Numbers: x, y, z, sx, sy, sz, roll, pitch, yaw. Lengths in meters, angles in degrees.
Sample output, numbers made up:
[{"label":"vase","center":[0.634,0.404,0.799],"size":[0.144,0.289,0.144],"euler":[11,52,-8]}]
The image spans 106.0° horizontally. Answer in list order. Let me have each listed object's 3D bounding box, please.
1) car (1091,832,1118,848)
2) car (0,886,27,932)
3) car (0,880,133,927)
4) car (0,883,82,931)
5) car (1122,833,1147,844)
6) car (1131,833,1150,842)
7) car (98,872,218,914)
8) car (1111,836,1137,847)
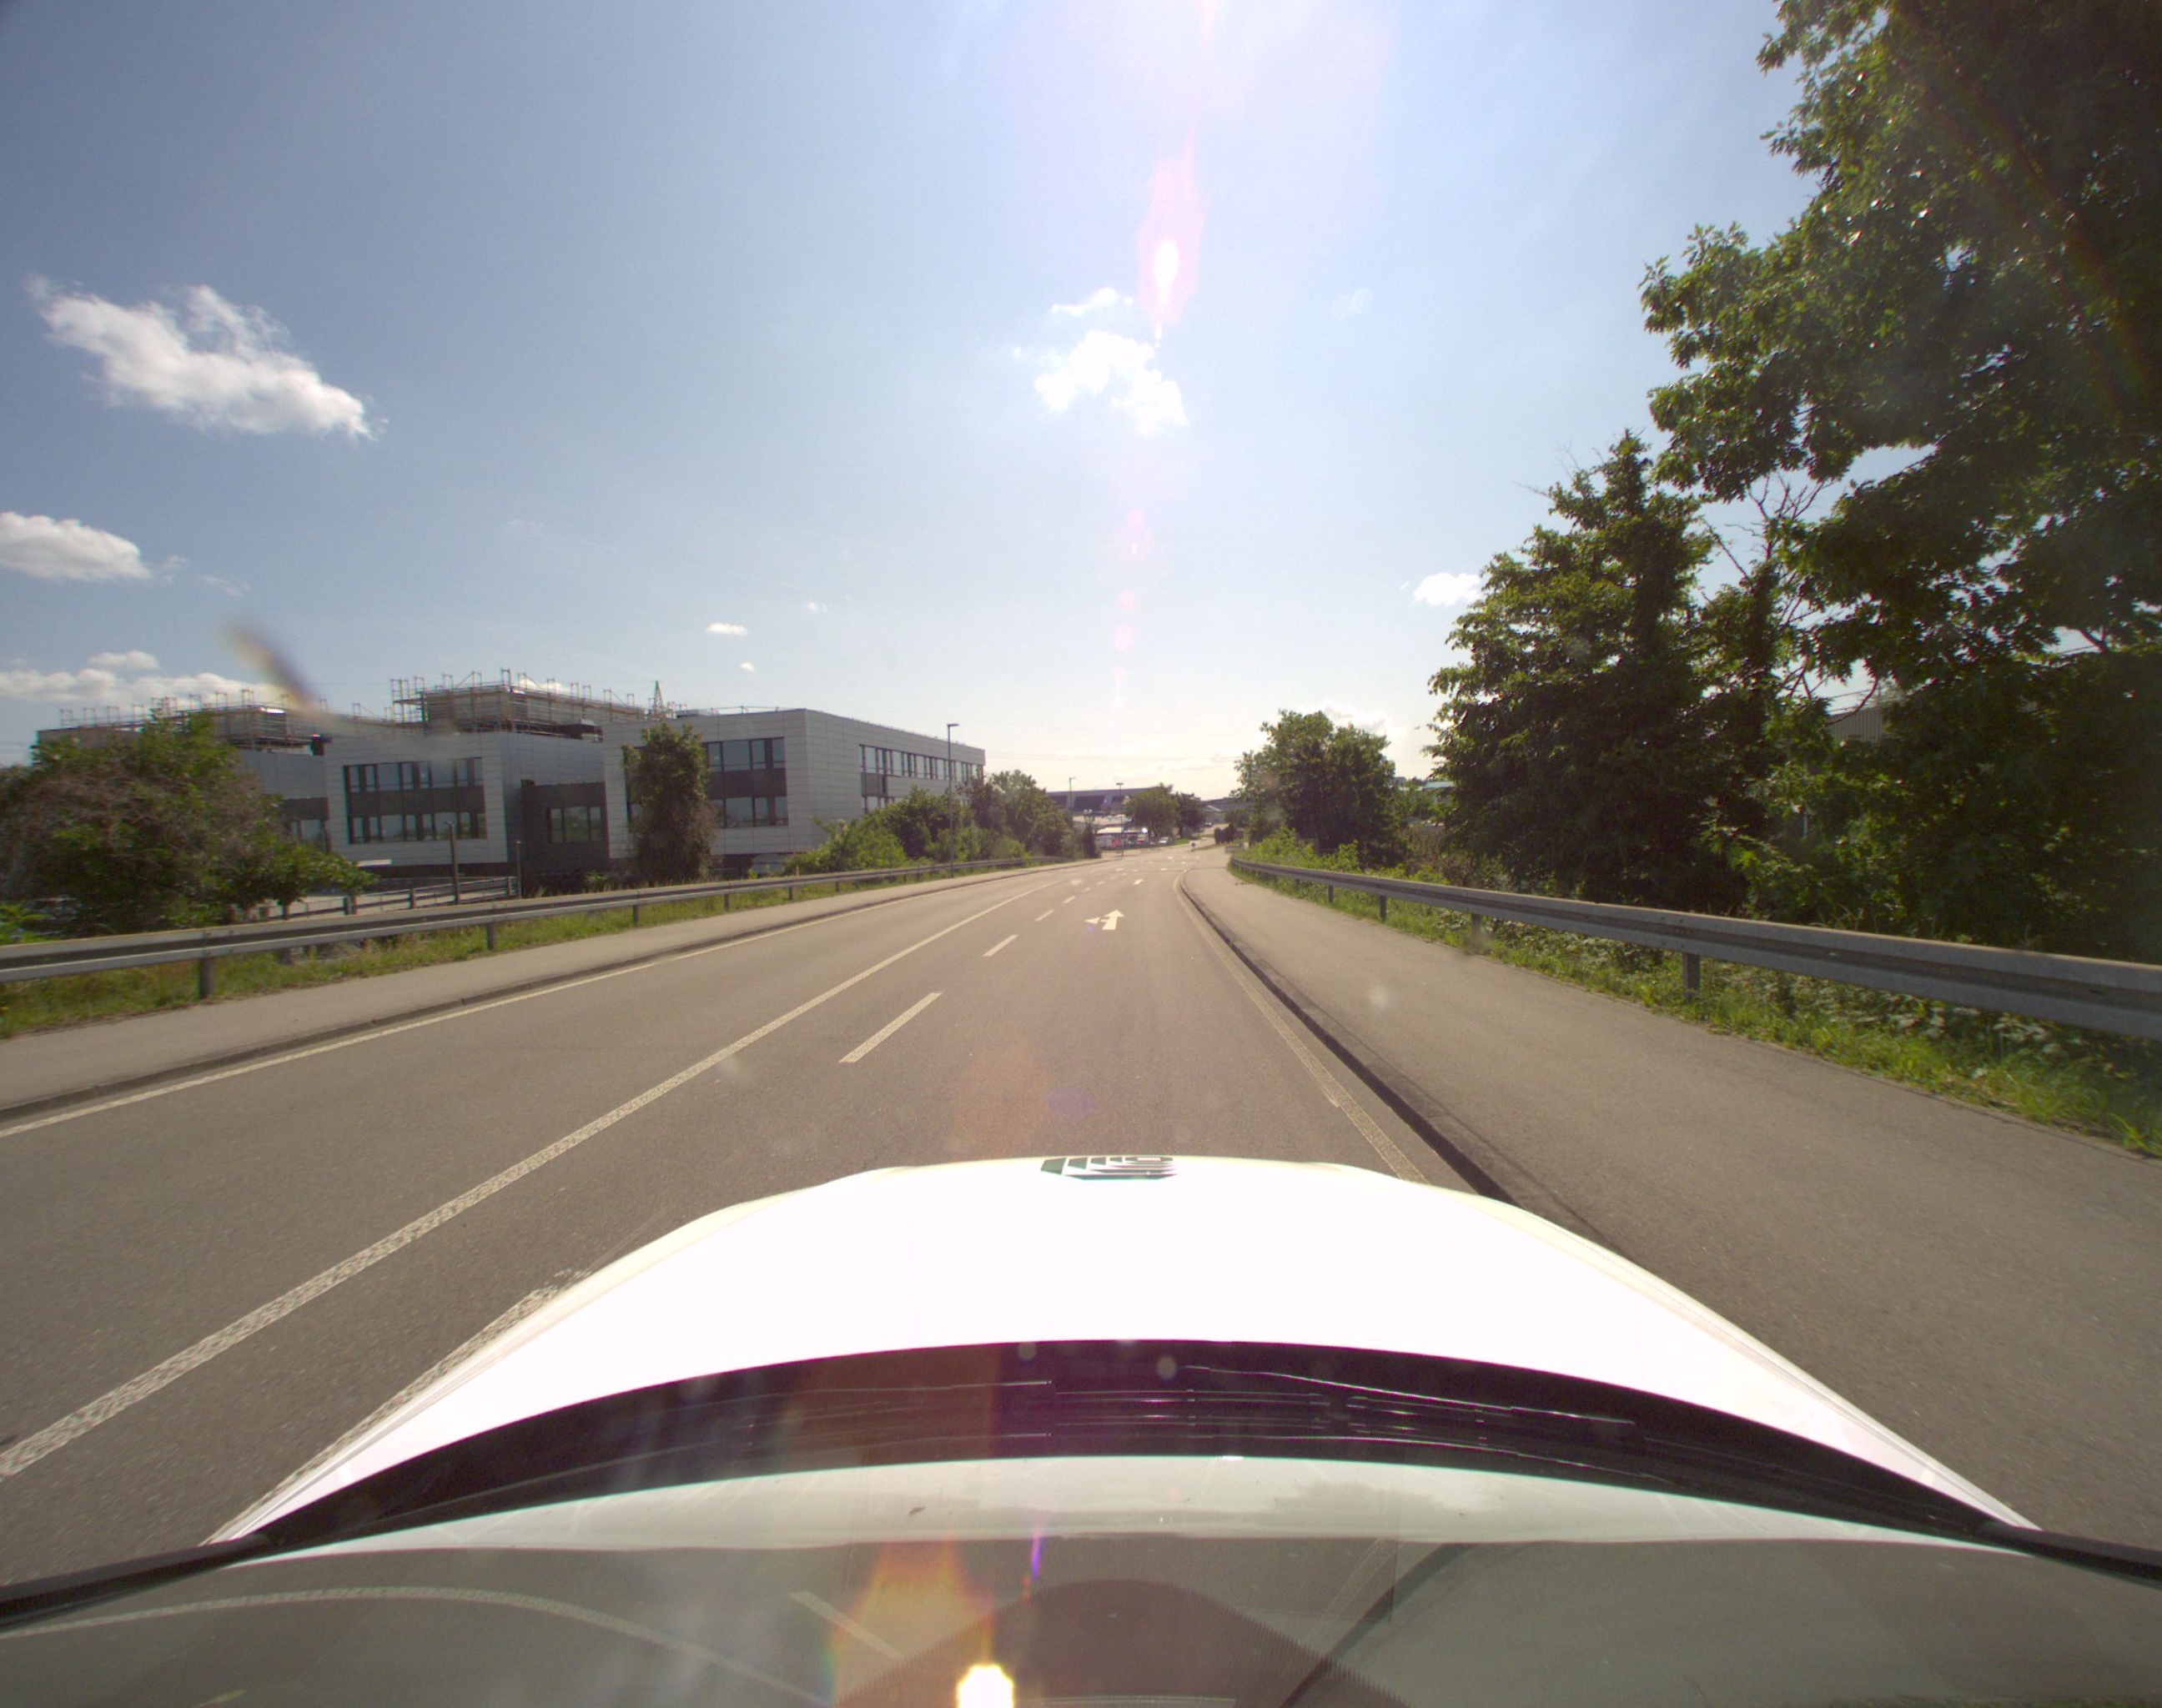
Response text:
[{"label":"car","center":[3.959,-2.388,138.334],"size":[4.309,2.608,2.013],"euler":[0,1,40]},{"label":"car","center":[-51.011,2.623,36.588],"size":[3.989,2.013,1.993],"euler":[-2,3,-11]},{"label":"car","center":[-51.555,2.488,41.338],"size":[3.989,2.013,1.993],"euler":[-2,3,-11]},{"label":"car","center":[-51.279,2.556,38.924],"size":[3.989,2.013,1.993],"euler":[-2,3,-11]},{"label":"car","center":[9.472,-2.788,144.139],"size":[3.949,1.903,2.013],"euler":[1,4,39]},{"label":"car","center":[12.911,-3.494,175.833],"size":[3.973,1.850,1.835],"euler":[-2,2,1]},{"label":"car","center":[-52.497,2.212,46.388],"size":[3.989,2.013,1.993],"euler":[-2,3,-11]},{"label":"car","center":[7.425,-2.193,140.896],"size":[3.949,1.780,2.013],"euler":[1,4,38]}]
